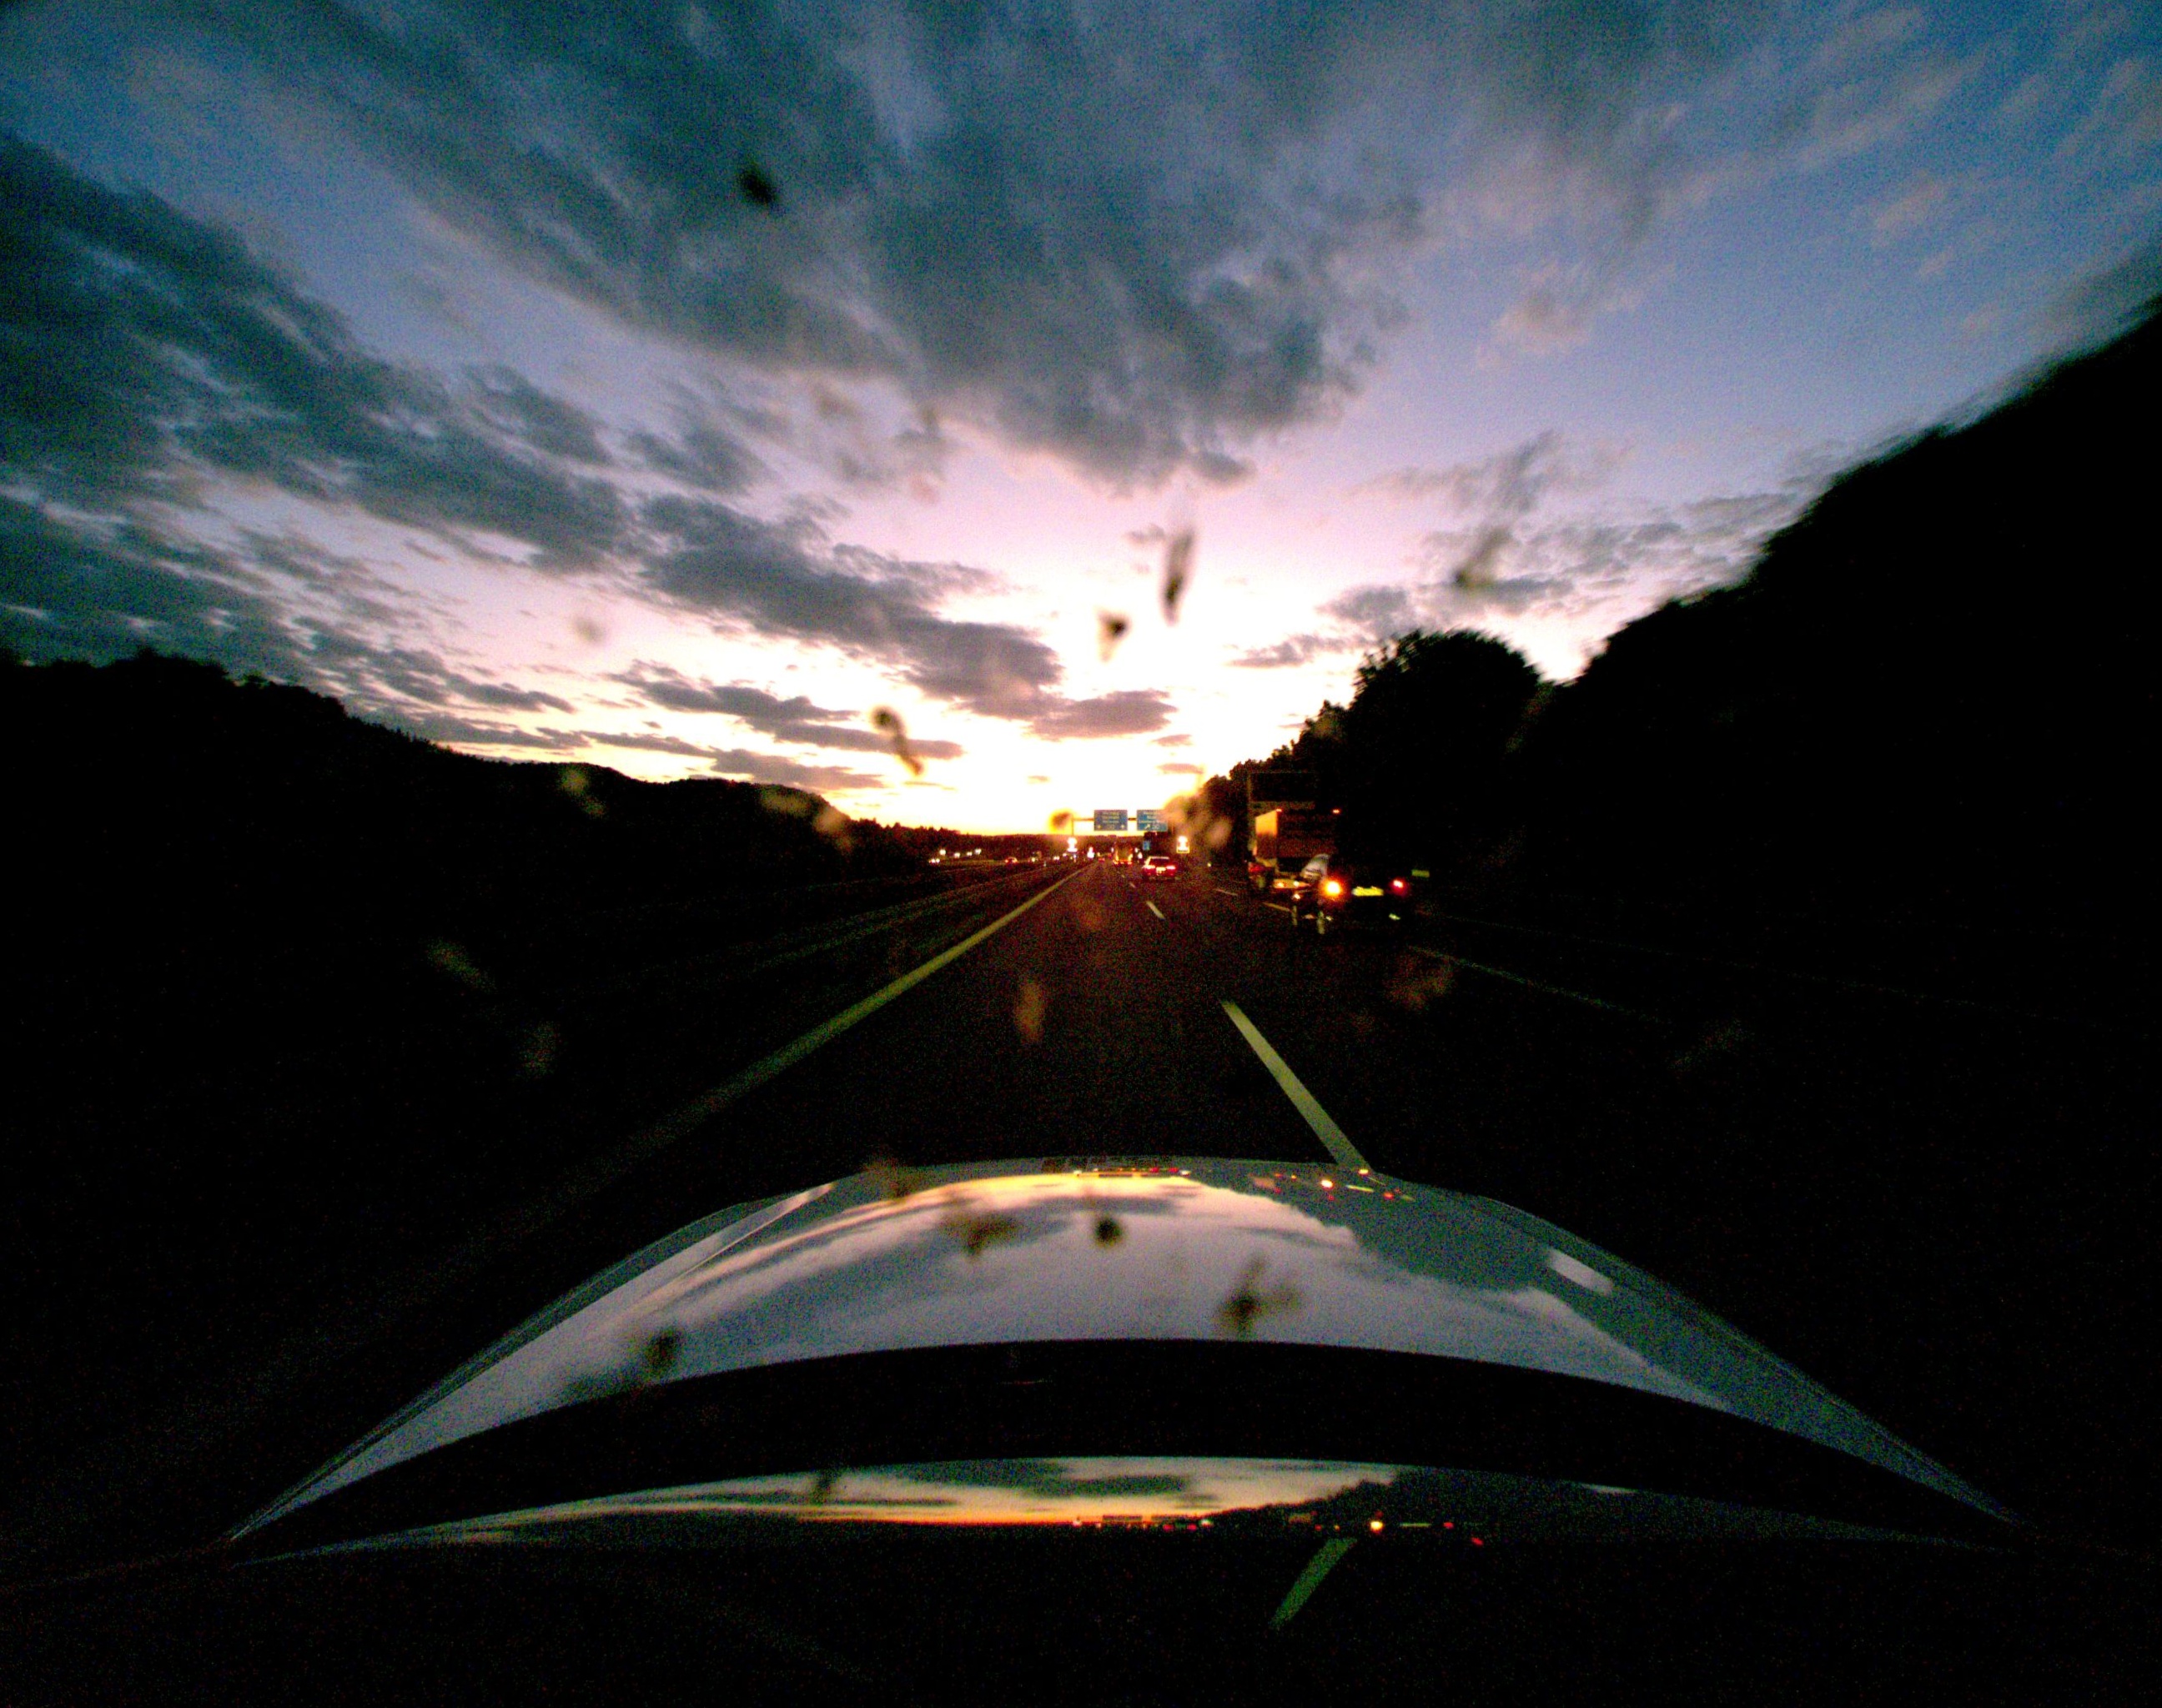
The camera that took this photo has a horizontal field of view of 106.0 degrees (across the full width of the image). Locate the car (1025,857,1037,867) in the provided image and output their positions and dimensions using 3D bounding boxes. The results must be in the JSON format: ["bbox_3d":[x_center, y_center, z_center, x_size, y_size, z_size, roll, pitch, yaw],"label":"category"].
[{"bbox_3d":[-8.550,1.423,139.638,1.707,1.606,3.723,-1,-1,1],"label":"car"}]

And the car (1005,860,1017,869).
[{"bbox_3d":[-12.185,1.760,141.640,1.632,1.546,3.396,-1,-1,2],"label":"car"}]

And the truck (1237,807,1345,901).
[{"bbox_3d":[7.466,0.012,29.801,2.260,2.972,6.632,2,0,1],"label":"truck"}]

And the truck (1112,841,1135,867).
[{"bbox_3d":[7.260,0.020,140.653,3.497,4.301,9.892,-1,-1,1],"label":"truck"}]

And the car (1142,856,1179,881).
[{"bbox_3d":[4.713,0.858,48.556,1.908,1.442,4.001,-1,-1,1],"label":"car"}]

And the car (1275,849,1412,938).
[{"bbox_3d":[5.007,0.709,15.948,1.605,1.556,3.318,-1,-1,0],"label":"car"}]
